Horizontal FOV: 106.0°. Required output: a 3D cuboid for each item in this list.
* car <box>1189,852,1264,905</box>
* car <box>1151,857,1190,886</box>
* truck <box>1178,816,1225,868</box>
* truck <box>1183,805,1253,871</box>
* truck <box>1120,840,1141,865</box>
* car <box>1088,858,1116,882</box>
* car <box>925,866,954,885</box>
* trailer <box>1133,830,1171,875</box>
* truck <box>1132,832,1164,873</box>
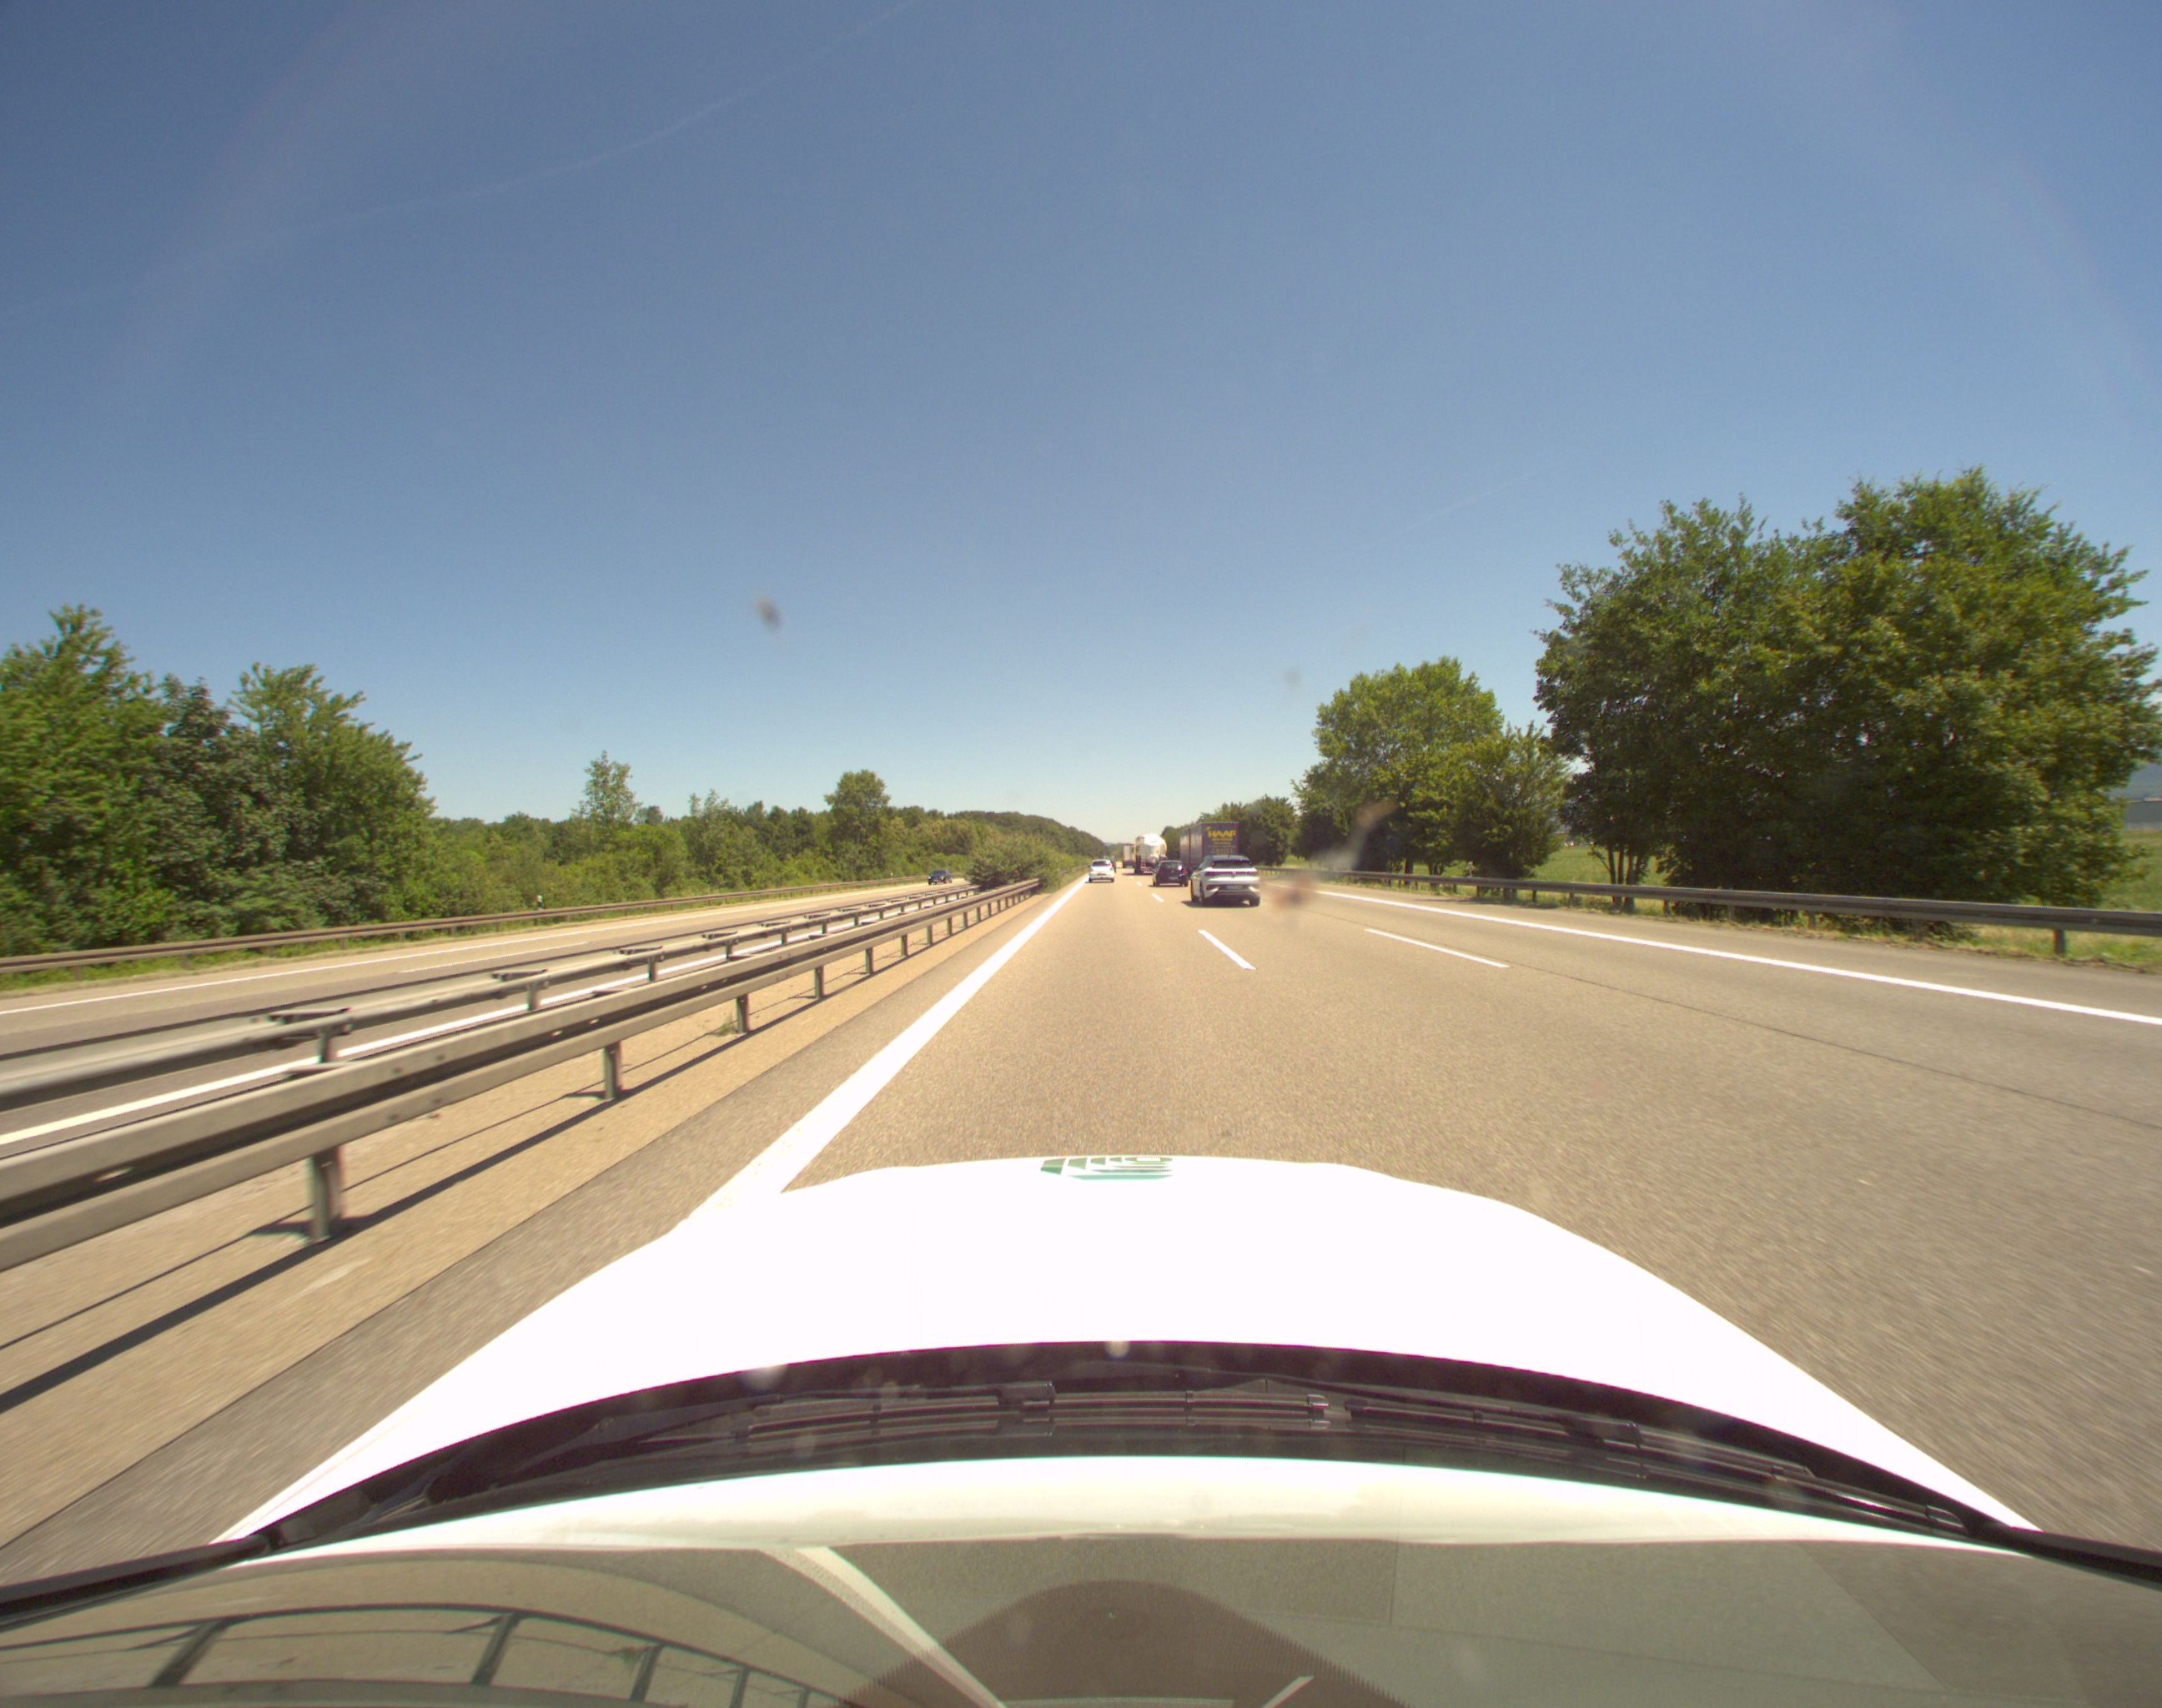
[{"bbox_3d":[4.677,0.752,26.806,1.796,1.603,4.382,0,0,1],"label":"car"},{"bbox_3d":[4.905,0.933,45.046,1.843,1.523,3.958,0,0,2],"label":"car"},{"bbox_3d":[9.985,-0.939,68.212,3.096,4.139,8.060,0,0,2],"label":"truck"},{"bbox_3d":[9.599,-0.966,59.121,3.096,4.139,15.519,0,0,2],"label":"truck"},{"bbox_3d":[8.424,-0.213,139.490,3.381,4.214,12.090,0,0,2],"label":"truck"},{"bbox_3d":[1.383,1.029,54.763,1.793,1.552,3.610,0,0,1],"label":"car"},{"bbox_3d":[-14.062,2.095,81.227,1.917,1.717,4.289,-2,0,2],"label":"car"},{"bbox_3d":[6.840,-0.154,80.011,2.901,4.069,12.421,0,0,1],"label":"trailer"},{"bbox_3d":[6.961,-0.134,85.200,2.902,4.079,7.195,0,0,1],"label":"truck"}]
